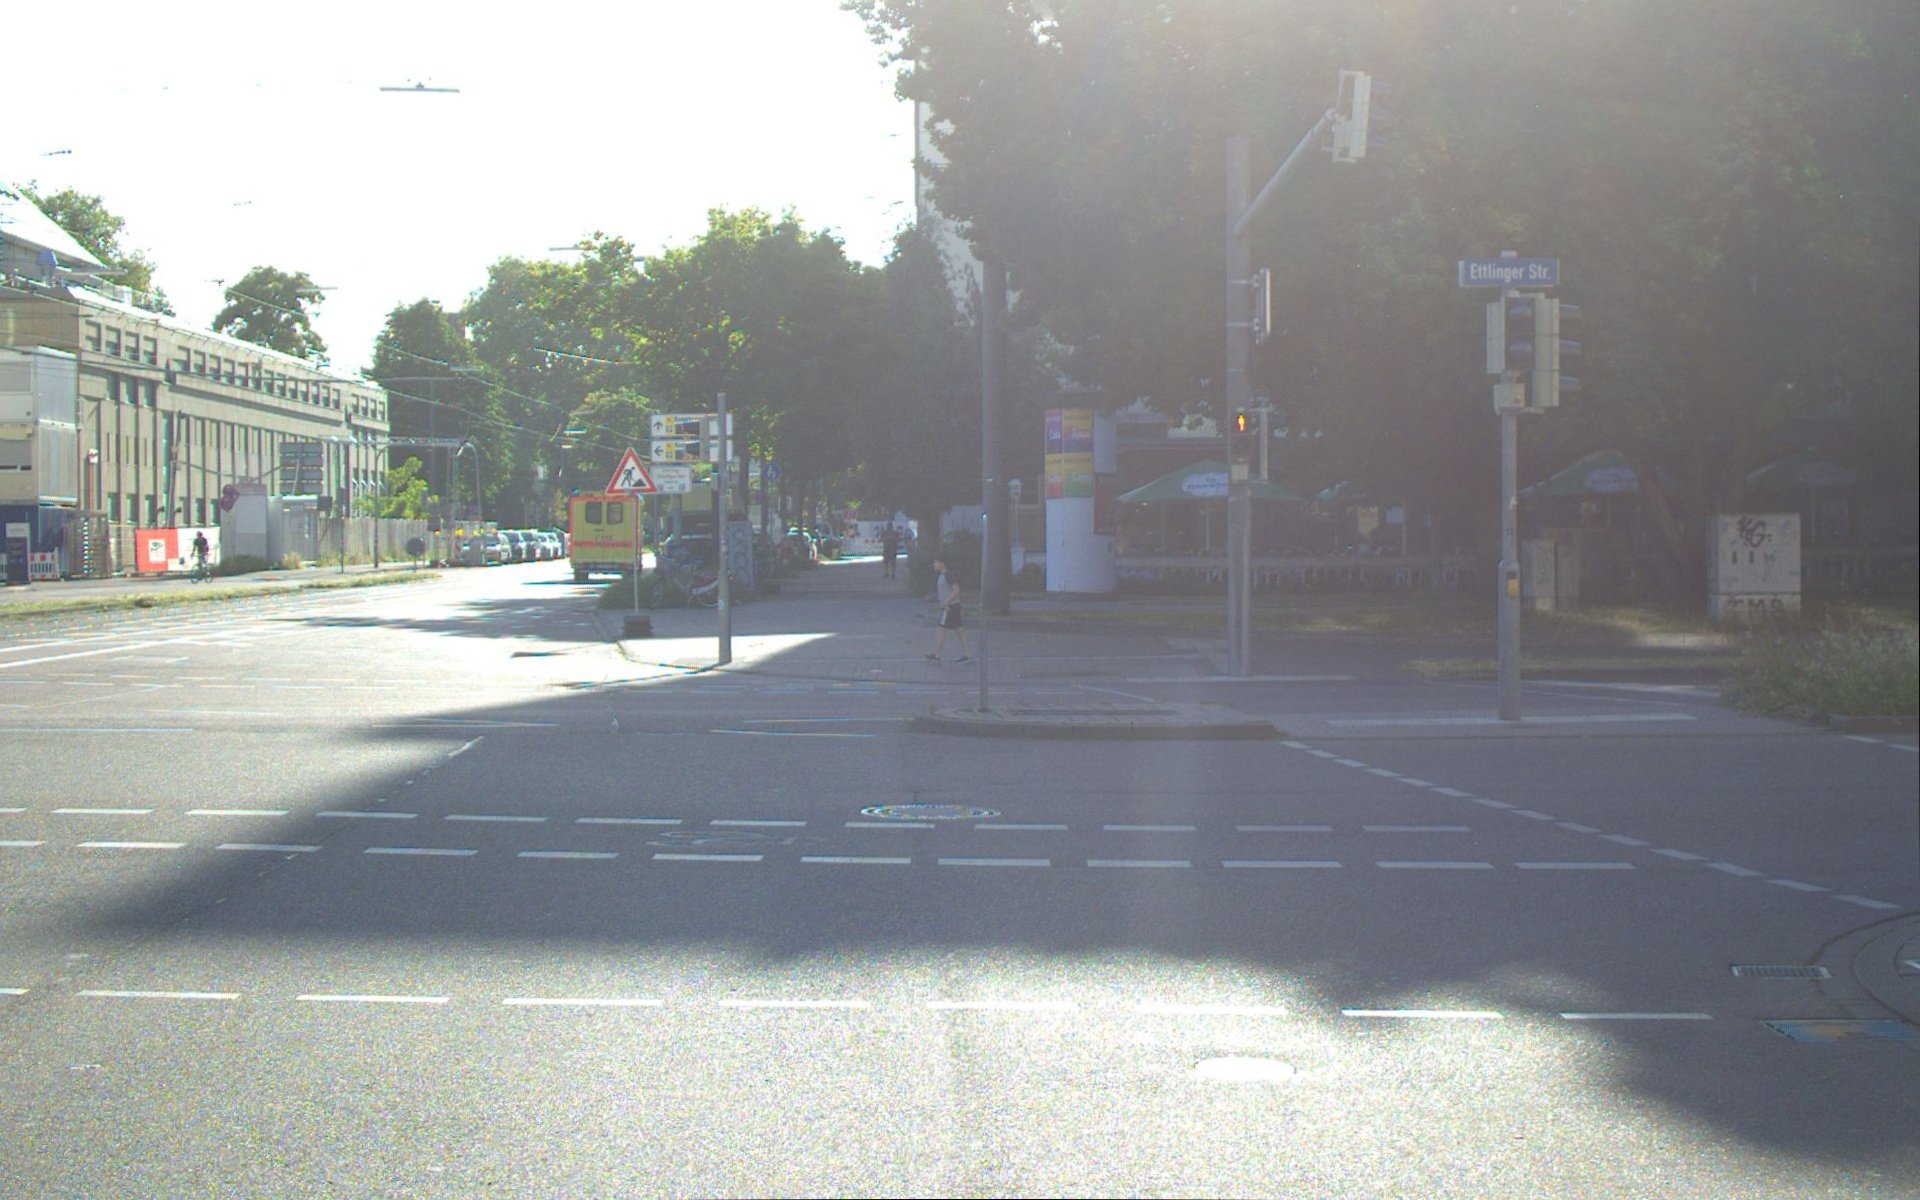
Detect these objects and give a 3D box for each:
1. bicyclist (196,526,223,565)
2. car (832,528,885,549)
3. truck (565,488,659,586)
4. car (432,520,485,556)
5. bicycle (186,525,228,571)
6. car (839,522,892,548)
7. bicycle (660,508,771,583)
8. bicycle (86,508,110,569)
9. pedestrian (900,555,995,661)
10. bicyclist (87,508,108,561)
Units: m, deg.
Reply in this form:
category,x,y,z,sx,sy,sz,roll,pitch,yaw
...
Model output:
category,x,y,z,sx,sy,sz,roll,pitch,yaw
bicyclist,-25.402,-1.840,116.373,0.689,1.323,1.000,1,0,1
car,-6.243,-3.786,211.171,3.217,1.259,1.373,1,0,-1
truck,-10.916,-1.984,108.235,2.716,3.005,6.490,0,1,-4
car,-22.807,-2.805,156.532,1.894,1.601,4.501,-1,1,-2
bicycle,-25.450,-1.751,116.304,0.689,1.506,2.944,1,1,1
car,-5.880,-4.020,213.459,3.214,1.583,1.446,1,0,-4
bicycle,-5.781,-1.281,81.359,2.547,1.737,1.037,1,0,0
bicycle,-32.677,-2.341,130.275,0.571,2.288,1.422,0,1,-2
pedestrian,-0.161,0.090,43.614,0.993,1.313,0.767,-1,1,-21
bicyclist,-32.678,-2.479,130.251,0.571,2.017,0.762,0,1,-2
